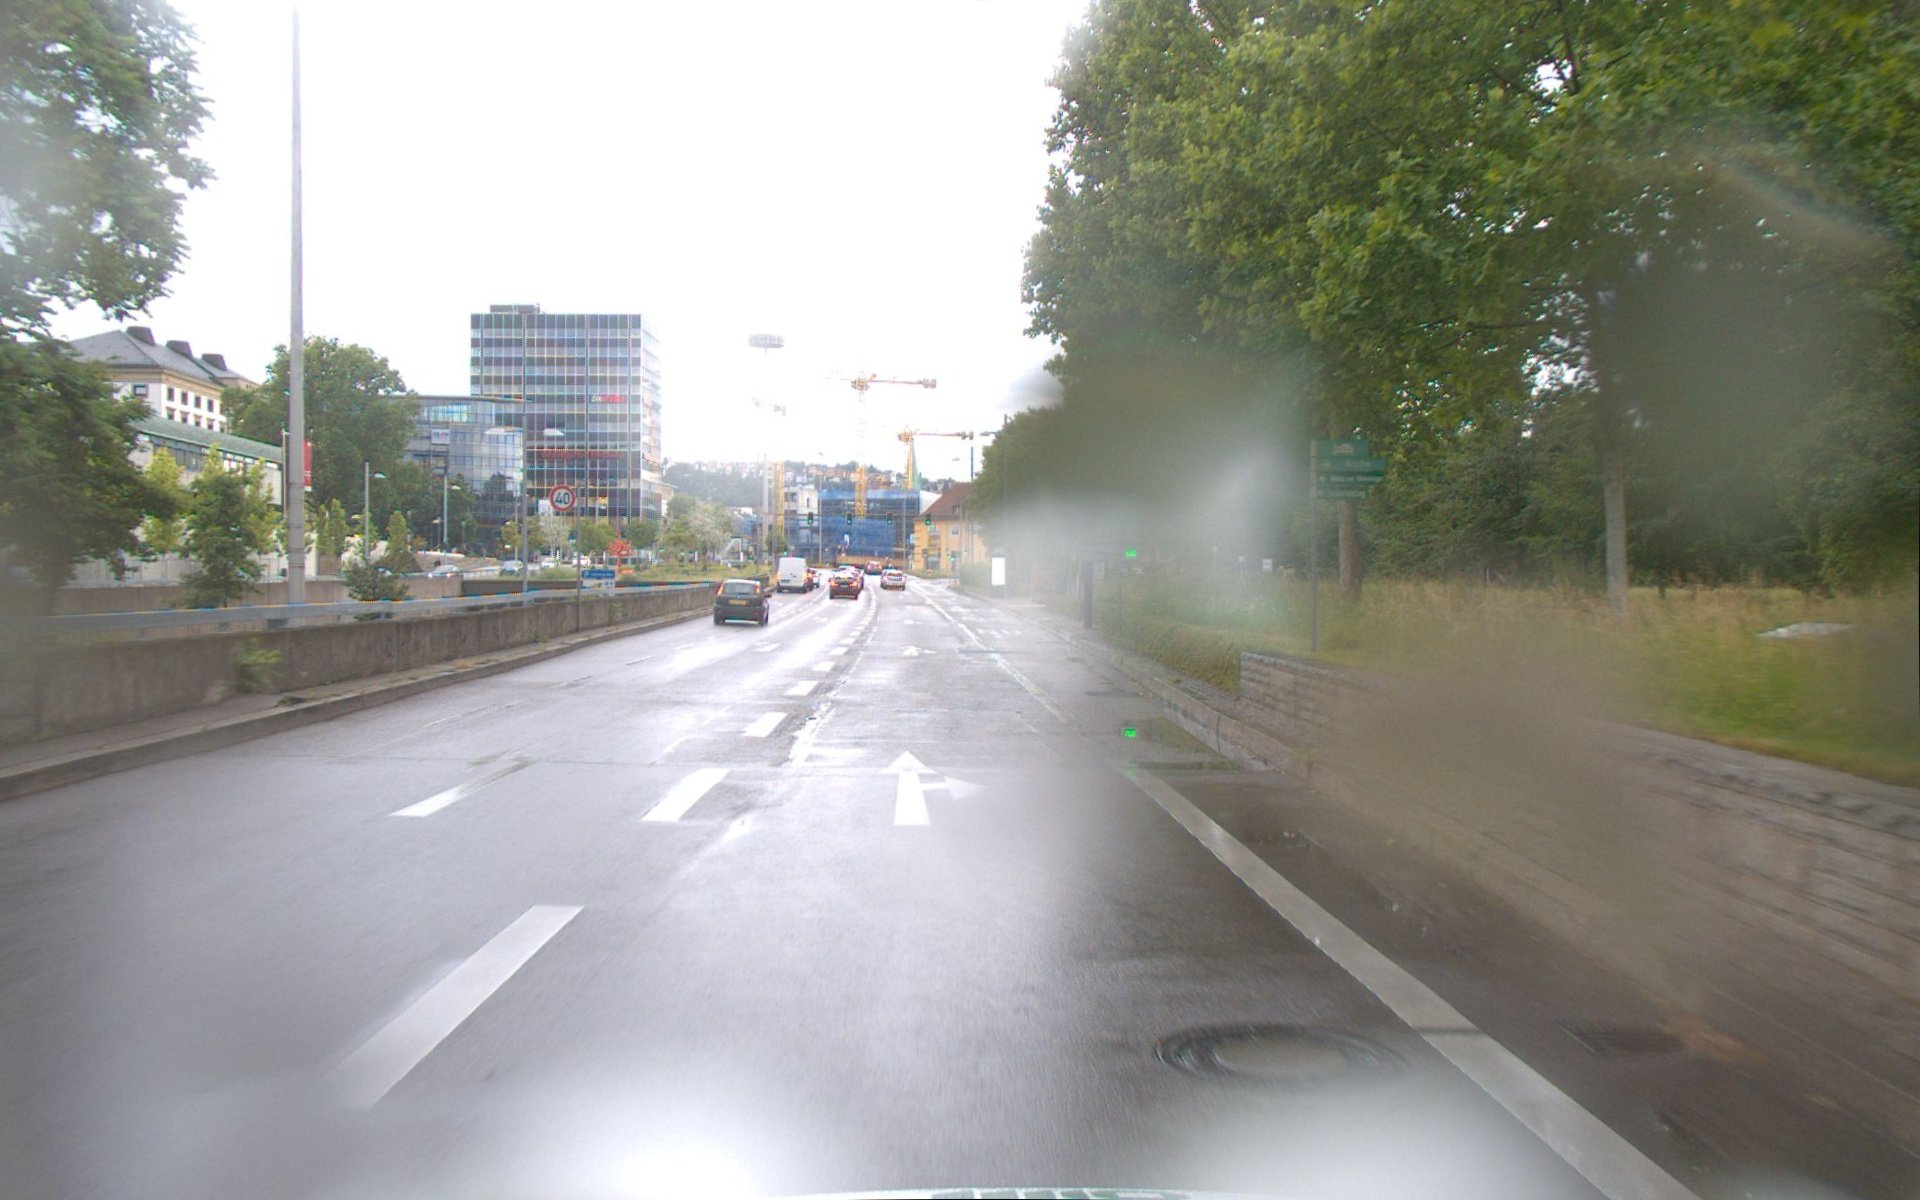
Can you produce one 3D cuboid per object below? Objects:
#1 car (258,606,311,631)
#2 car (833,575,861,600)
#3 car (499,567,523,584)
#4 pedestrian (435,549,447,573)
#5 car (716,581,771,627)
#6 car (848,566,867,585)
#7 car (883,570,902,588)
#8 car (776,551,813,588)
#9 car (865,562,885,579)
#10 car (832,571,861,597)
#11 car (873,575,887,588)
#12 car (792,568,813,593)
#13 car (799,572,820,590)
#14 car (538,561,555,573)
[{"bbox_3d":[-32.607,0.888,79.935,1.458,1.149,3.048,2,0,-4],"label":"car"},{"bbox_3d":[-8.099,-0.898,118.211,1.844,1.681,3.453,2,0,-6],"label":"car"},{"bbox_3d":[-40.620,-2.228,149.736,1.435,1.465,2.961,2,0,-3],"label":"car"},{"bbox_3d":[-46.880,-3.540,149.358,0.710,2.126,0.768,5,6,29],"label":"pedestrian"},{"bbox_3d":[-7.119,0.124,54.630,1.512,1.440,3.898,2,0,-4],"label":"car"},{"bbox_3d":[-8.033,-1.941,129.802,1.464,1.393,3.031,2,0,-4],"label":"car"},{"bbox_3d":[-5.352,-1.677,131.269,1.415,1.383,2.412,2,0,0],"label":"car"},{"bbox_3d":[-11.304,-2.076,113.235,2.247,2.354,5.003,2,0,-3],"label":"car"},{"bbox_3d":[-10.221,-3.479,198.714,2.117,1.912,3.770,2,0,0],"label":"car"},{"bbox_3d":[-7.075,-0.998,102.898,1.719,1.496,4.219,1,2,-5],"label":"car"},{"bbox_3d":[-6.616,-1.549,137.486,1.054,1.007,1.971,2,-1,0],"label":"car"},{"bbox_3d":[-11.398,-1.434,119.856,1.436,1.736,3.138,2,0,-5],"label":"car"},{"bbox_3d":[-11.741,-1.485,129.388,1.520,1.282,2.578,2,0,-4],"label":"car"},{"bbox_3d":[-46.154,-3.704,184.746,1.381,1.277,3.162,2,0,-6],"label":"car"}]
